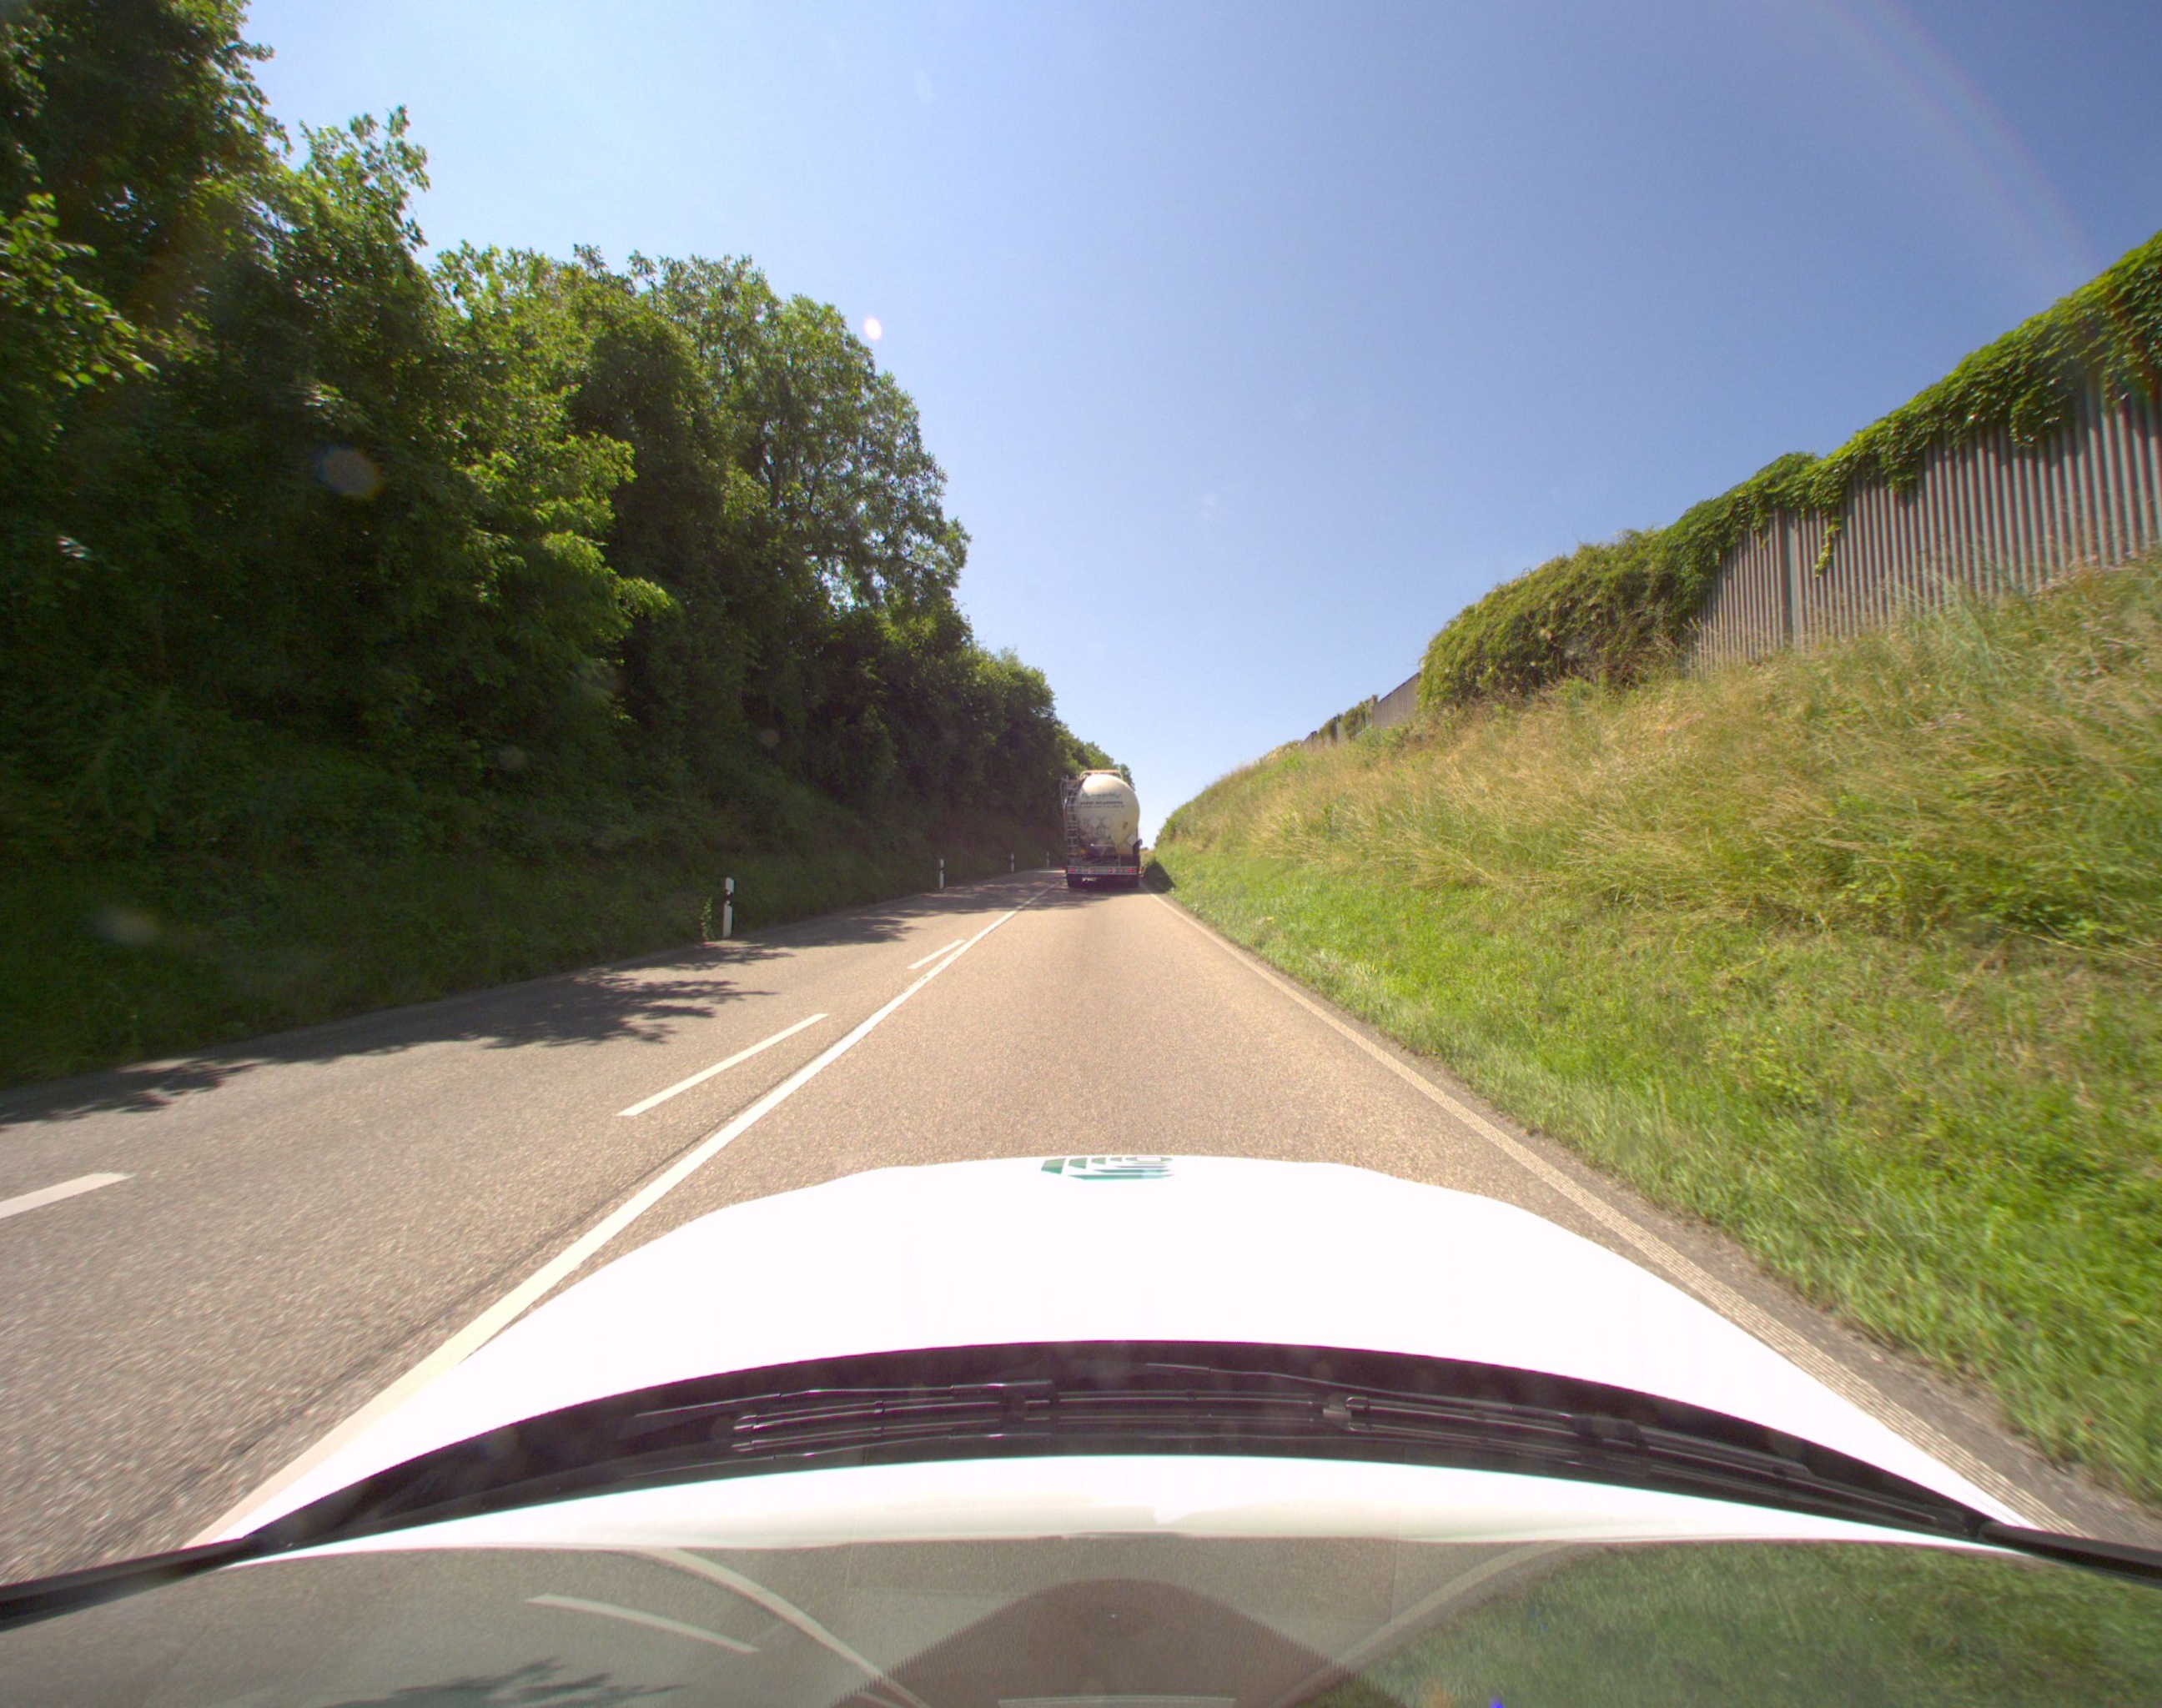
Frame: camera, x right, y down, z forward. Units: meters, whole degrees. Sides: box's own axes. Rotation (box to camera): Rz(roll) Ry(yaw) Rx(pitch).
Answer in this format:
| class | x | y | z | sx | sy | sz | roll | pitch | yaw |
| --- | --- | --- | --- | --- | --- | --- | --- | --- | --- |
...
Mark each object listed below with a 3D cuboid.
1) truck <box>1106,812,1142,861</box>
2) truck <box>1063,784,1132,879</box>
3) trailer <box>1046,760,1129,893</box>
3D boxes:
| class | x | y | z | sx | sy | sz | roll | pitch | yaw |
| --- | --- | --- | --- | --- | --- | --- | --- | --- | --- |
| truck | 4.283 | -1.659 | 78.899 | 3.176 | 4.309 | 11.813 | 1 | 1 | 4 |
| truck | 0.915 | -1.034 | 37.834 | 2.714 | 3.929 | 7.274 | -1 | 2 | 5 |
| trailer | 0.531 | -1.018 | 31.746 | 2.650 | 4.188 | 11.916 | 0 | 1 | 3 |
